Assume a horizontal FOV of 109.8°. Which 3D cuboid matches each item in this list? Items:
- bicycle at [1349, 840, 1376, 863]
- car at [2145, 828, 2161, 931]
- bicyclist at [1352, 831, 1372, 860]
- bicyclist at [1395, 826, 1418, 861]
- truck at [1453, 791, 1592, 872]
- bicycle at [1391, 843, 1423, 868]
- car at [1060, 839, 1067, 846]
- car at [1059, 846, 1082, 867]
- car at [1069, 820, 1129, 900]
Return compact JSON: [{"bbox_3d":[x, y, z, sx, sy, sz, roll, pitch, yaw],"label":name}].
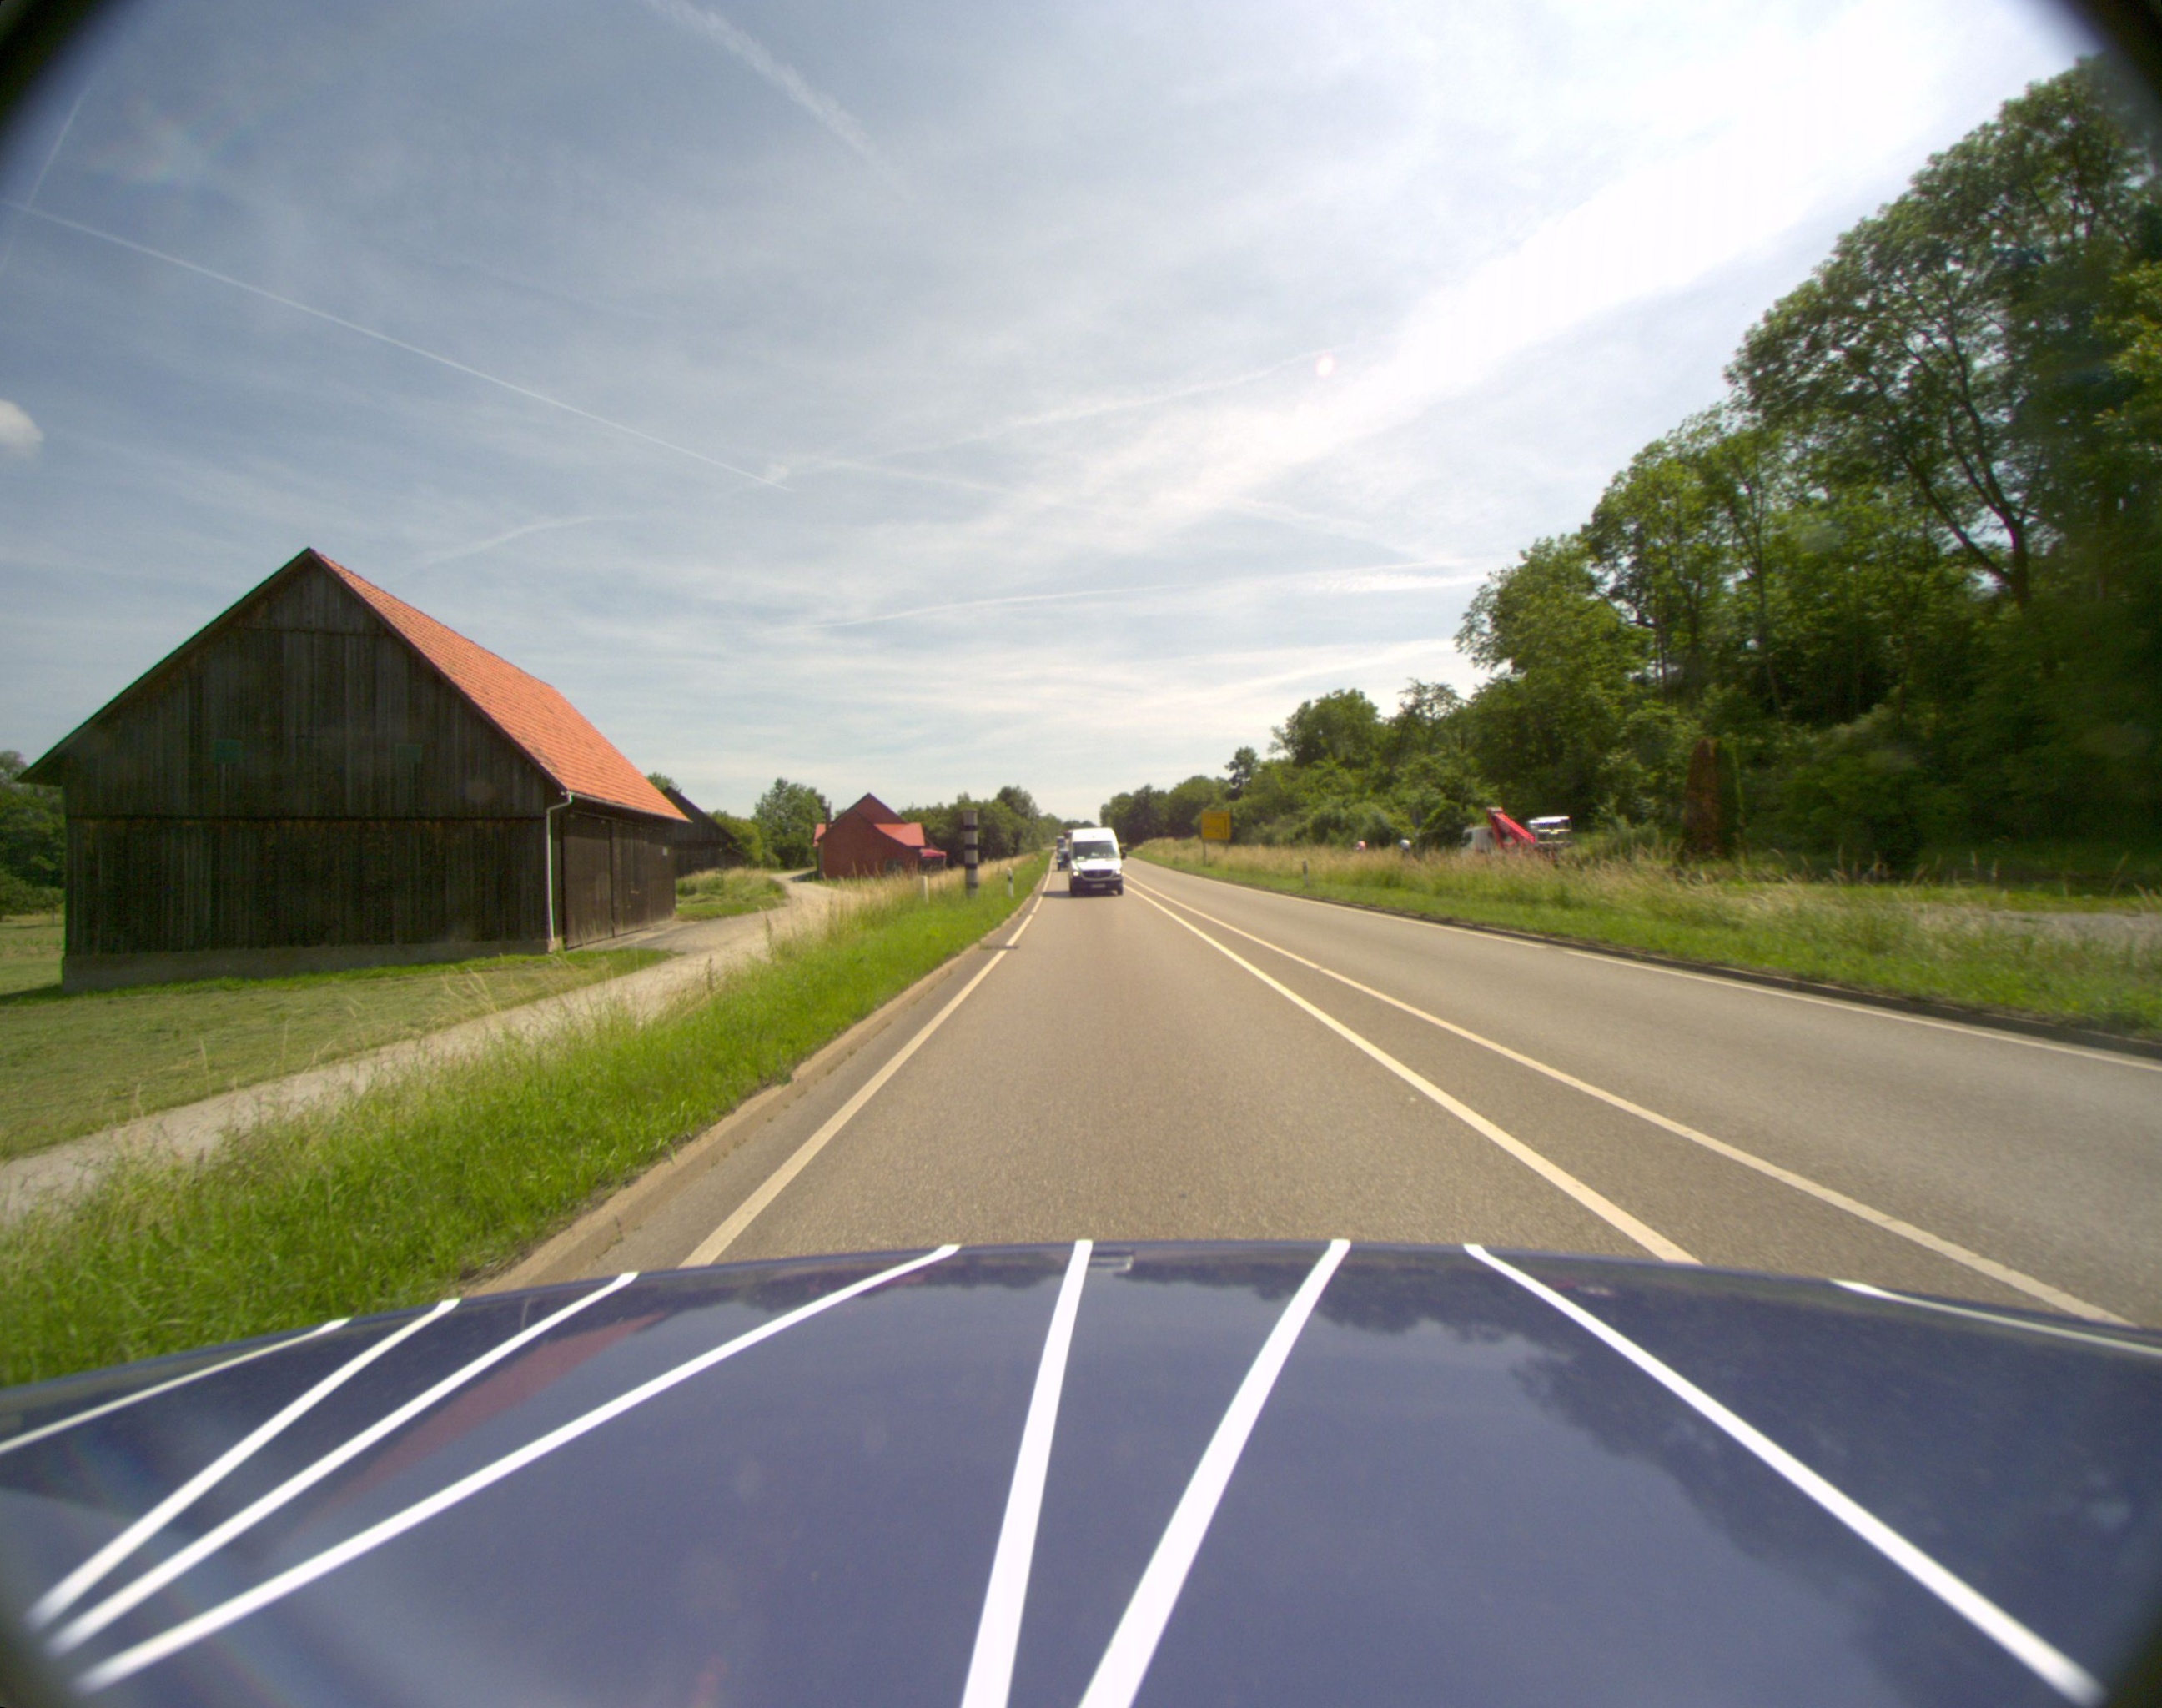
[{"bbox_3d":[15.883,-0.138,42.897,0.750,1.205,2.105,-3,1,1],"label":"bicycle"},{"bbox_3d":[18.864,0.318,11.063,4.037,1.609,1.833,-3,1,2],"label":"car"},{"bbox_3d":[15.860,-0.504,42.880,0.750,1.586,0.936,-3,1,1],"label":"bicyclist"},{"bbox_3d":[16.297,-0.543,38.078,0.750,1.704,0.936,-3,1,3],"label":"bicyclist"},{"bbox_3d":[18.328,-0.876,32.072,2.031,2.946,6.773,-3,1,2],"label":"truck"},{"bbox_3d":[16.331,0.069,38.113,0.750,1.174,2.105,-3,1,3],"label":"bicycle"},{"bbox_3d":[-5.332,-3.567,232.545,1.998,2.166,4.000,-3,0,2],"label":"car"},{"bbox_3d":[-0.869,0.252,66.217,1.848,1.692,4.244,-1,-1,1],"label":"car"},{"bbox_3d":[0.668,0.180,29.097,1.960,2.655,5.680,-3,1,1],"label":"car"}]
